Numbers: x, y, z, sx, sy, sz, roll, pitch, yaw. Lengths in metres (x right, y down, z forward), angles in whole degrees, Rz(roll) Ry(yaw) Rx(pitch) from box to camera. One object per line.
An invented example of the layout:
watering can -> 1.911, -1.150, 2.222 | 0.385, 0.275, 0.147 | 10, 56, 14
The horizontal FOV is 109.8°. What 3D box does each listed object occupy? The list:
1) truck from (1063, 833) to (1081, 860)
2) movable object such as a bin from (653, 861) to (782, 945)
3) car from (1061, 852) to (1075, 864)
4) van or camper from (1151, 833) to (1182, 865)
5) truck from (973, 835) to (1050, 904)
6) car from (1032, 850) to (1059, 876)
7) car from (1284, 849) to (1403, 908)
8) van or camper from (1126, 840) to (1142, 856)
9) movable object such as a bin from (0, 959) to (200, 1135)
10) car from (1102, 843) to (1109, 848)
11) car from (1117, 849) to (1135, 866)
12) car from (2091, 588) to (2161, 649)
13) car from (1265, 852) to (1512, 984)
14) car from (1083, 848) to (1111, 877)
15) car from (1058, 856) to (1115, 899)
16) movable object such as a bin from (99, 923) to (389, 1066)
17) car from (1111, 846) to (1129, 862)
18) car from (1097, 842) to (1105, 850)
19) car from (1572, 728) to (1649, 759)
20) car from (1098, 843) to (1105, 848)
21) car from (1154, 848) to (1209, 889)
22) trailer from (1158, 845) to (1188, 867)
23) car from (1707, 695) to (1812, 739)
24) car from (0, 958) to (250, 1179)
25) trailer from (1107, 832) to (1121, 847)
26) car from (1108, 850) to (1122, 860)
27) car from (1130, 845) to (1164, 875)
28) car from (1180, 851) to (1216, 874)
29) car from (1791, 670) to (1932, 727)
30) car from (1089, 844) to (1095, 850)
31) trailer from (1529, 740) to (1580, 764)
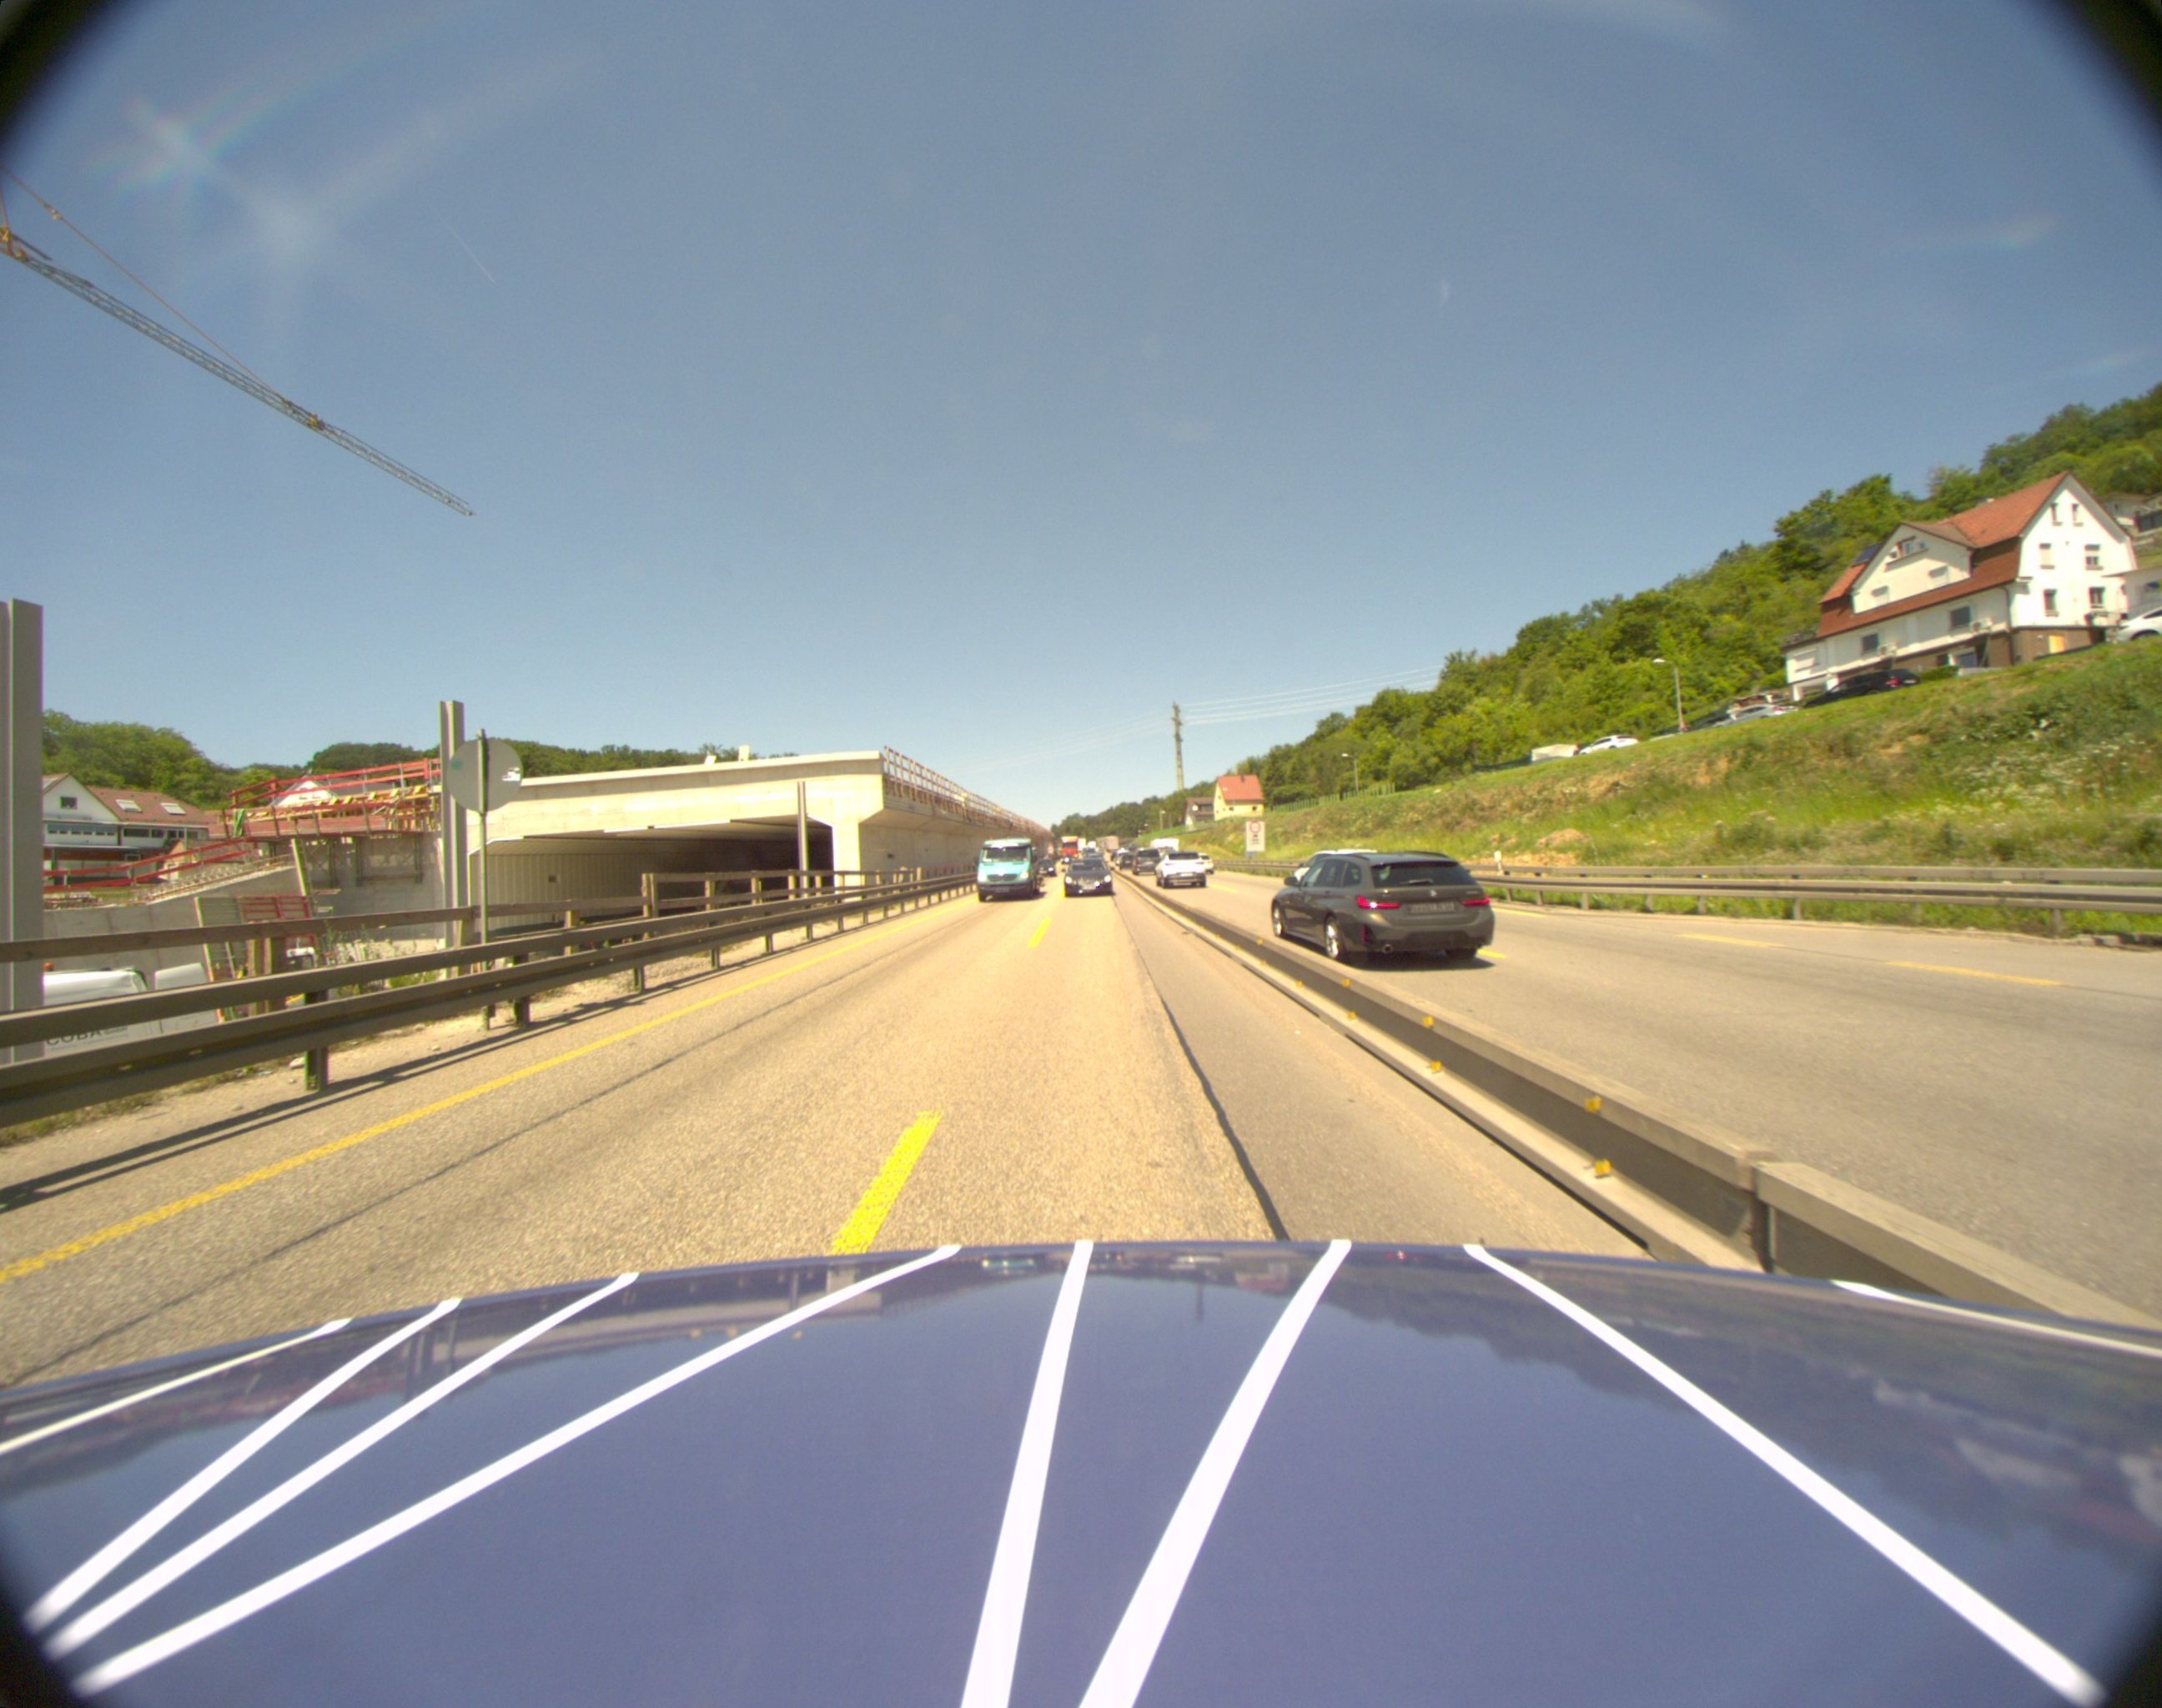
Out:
truck -> -1.500, -1.361, 127.580 | 2.750, 4.222, 9.093 | -2, 1, 0
movable object such as a bin -> -20.943, 2.605, 44.617 | 2.961, 4.040, 9.153 | -2, 1, 0
car -> -1.799, 0.498, 106.154 | 1.883, 1.532, 4.280 | -2, 1, 0
van or camper -> 8.533, -0.504, 76.440 | 2.297, 3.048, 6.923 | -2, 0, 1
truck -> -2.591, 0.465, 30.349 | 2.139, 2.344, 7.431 | -2, 1, 1
car -> -2.750, 0.646, 59.634 | 1.885, 1.805, 4.249 | -2, 1, 0
car -> 7.398, 0.621, 21.957 | 1.808, 1.488, 4.599 | -1, 0, 0
van or camper -> 9.054, -1.020, 130.446 | 2.145, 2.558, 6.564 | -3, 0, 1
movable object such as a bin -> -20.302, 3.690, 13.645 | 2.149, 2.661, 5.500 | -2, 1, 5
car -> 8.484, -2.882, 263.566 | 1.998, 1.499, 5.299 | -2, 1, 1
car -> 4.182, 0.287, 71.282 | 1.487, 1.496, 2.805 | -2, 0, 1
car -> 41.397, -9.036, 27.806 | 1.999, 1.784, 5.008 | -2, 1, -6
car -> 4.044, 0.728, 10.873 | 1.802, 1.458, 4.355 | -1, 0, 1
car -> 1.204, 0.573, 54.705 | 1.884, 1.805, 4.250 | -2, 1, 2
car -> 0.254, 0.862, 30.066 | 1.998, 1.441, 4.601 | -2, 1, 1
movable object such as a bin -> -25.230, 4.211, 22.933 | 7.141, 2.883, 3.503 | -11, -2, 23
car -> 4.635, 0.002, 90.115 | 1.842, 1.817, 5.040 | -2, 0, 0
car -> 5.032, -2.041, 190.560 | 1.998, 2.002, 3.999 | -2, 1, 0
car -> 38.316, -7.995, 55.158 | 2.000, 1.646, 4.548 | -2, 1, -9
car -> 5.758, -2.383, 213.837 | 1.807, 1.455, 4.000 | -2, 1, 1
car -> 4.320, 0.570, 33.291 | 1.811, 1.630, 4.172 | -2, 0, 0
trailer -> 8.479, 0.129, 70.523 | 2.106, 1.883, 5.141 | -2, 0, 1
car -> 39.775, -7.993, 44.691 | 1.999, 1.861, 4.427 | -2, 1, -5
car -> -17.552, 3.556, 11.308 | 2.149, 2.840, 7.023 | -2, 1, 4
trailer -> 8.652, -3.770, 200.295 | 2.937, 3.966, 8.704 | -2, 1, -1
car -> 5.100, 0.088, 115.163 | 1.847, 1.467, 4.834 | -2, 0, 0
car -> 4.763, 0.392, 55.557 | 1.915, 2.002, 4.905 | -2, 0, -1
car -> 8.057, 0.576, 52.581 | 1.814, 1.423, 4.555 | -3, 0, 1
car -> 40.451, -8.029, 39.595 | 2.077, 1.997, 4.970 | -2, 1, -4
car -> 3.822, -2.364, 263.335 | 1.854, 1.879, 4.501 | -2, 0, 1
trailer -> 37.564, -8.087, 60.347 | 1.908, 1.507, 3.034 | -2, 1, -10
